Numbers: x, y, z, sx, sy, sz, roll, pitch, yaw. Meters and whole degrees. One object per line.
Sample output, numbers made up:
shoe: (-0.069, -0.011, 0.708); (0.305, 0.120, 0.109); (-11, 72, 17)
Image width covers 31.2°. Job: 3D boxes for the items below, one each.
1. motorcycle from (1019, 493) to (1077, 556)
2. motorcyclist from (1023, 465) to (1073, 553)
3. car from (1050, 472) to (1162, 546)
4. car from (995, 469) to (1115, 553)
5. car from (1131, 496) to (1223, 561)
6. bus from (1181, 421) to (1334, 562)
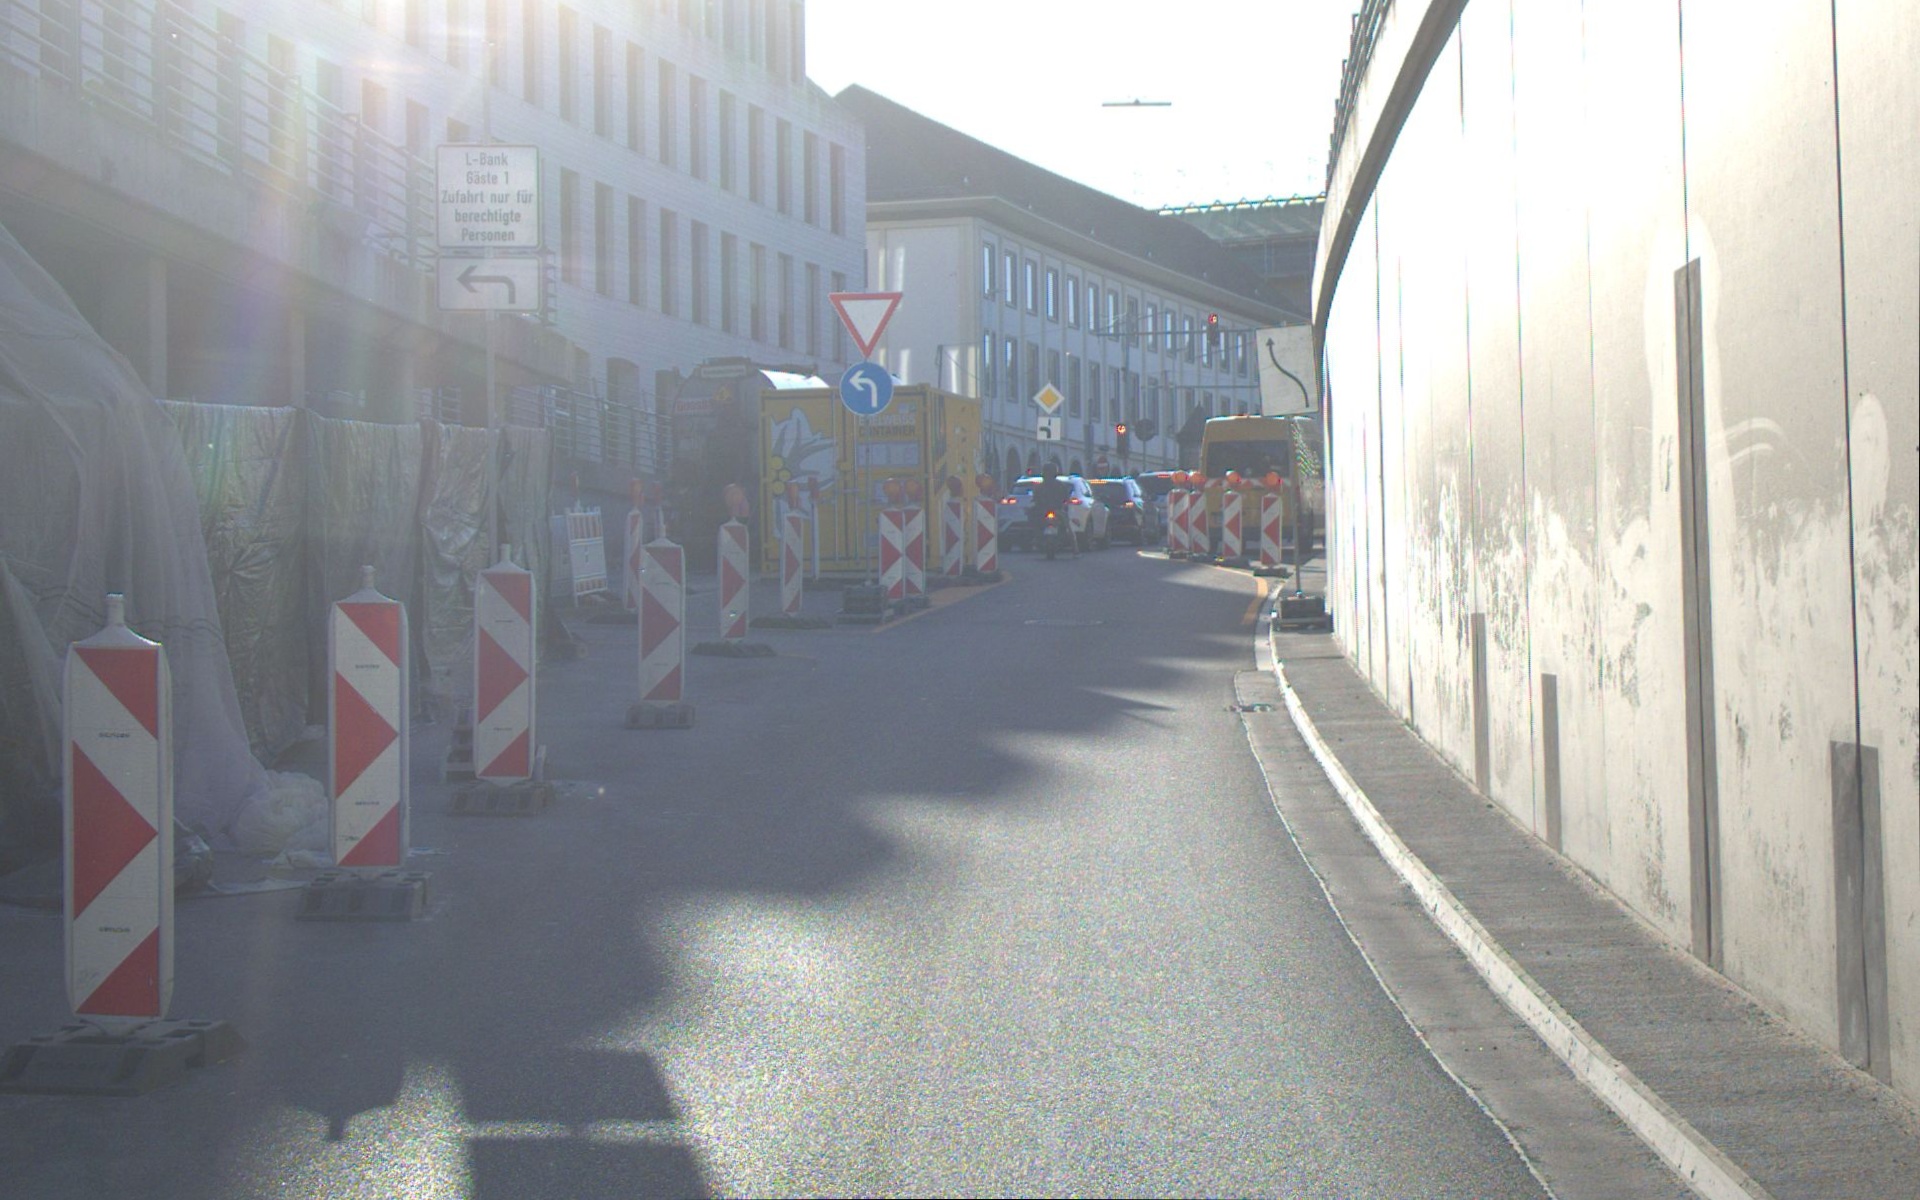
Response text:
motorcycle: (1.563, -1.324, 60.700); (0.771, 0.989, 2.183); (0, -2, 8)
motorcyclist: (1.556, -1.601, 60.620); (0.804, 1.499, 0.776); (0, -2, 8)
car: (3.171, -1.934, 73.888); (1.821, 1.528, 3.998); (1, 1, 11)
car: (1.890, -1.734, 67.417); (1.776, 1.598, 3.998); (1, 1, 10)
car: (5.236, -1.713, 82.602); (1.857, 1.528, 3.999); (0, 1, 8)
bus: (5.601, -2.015, 64.234); (2.226, 2.548, 4.425); (0, 2, 13)
